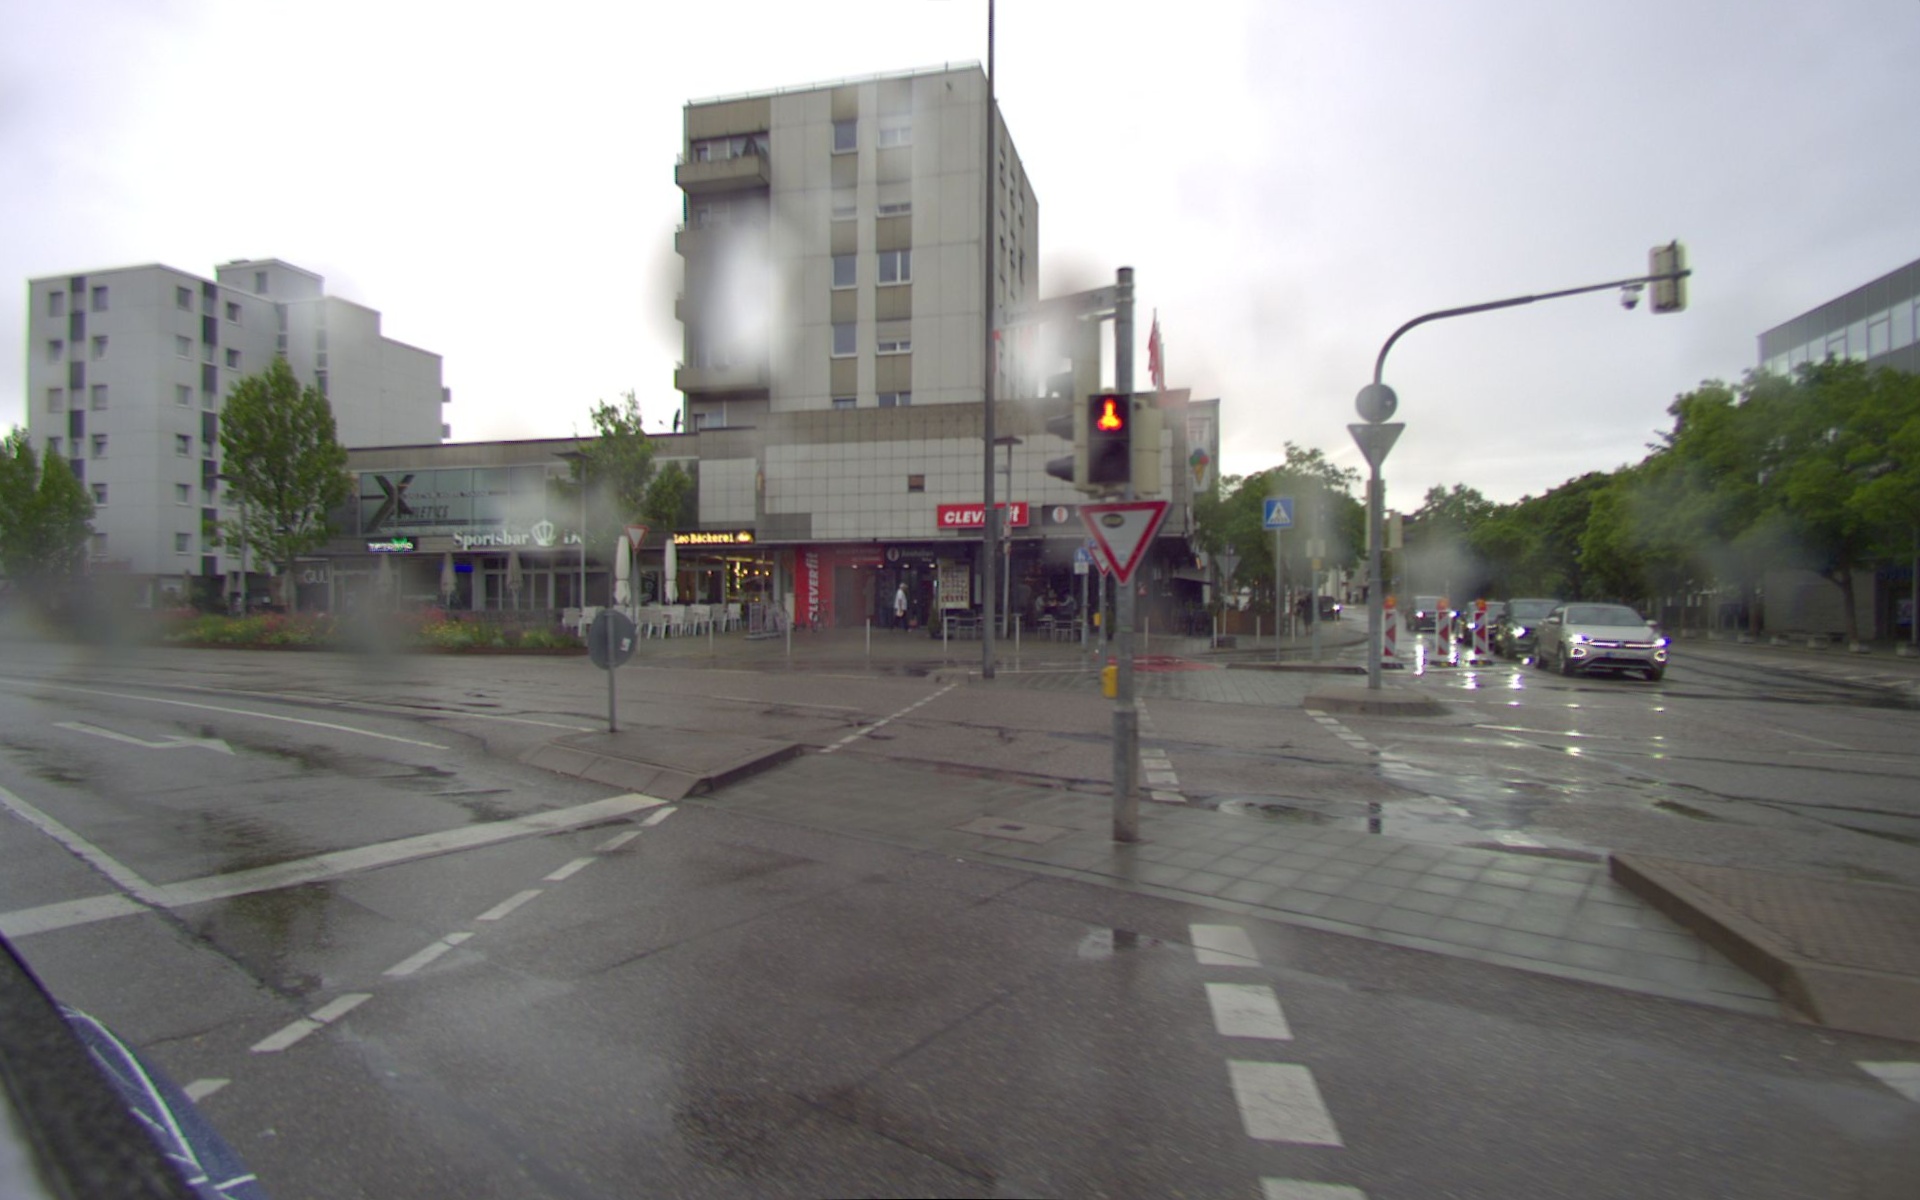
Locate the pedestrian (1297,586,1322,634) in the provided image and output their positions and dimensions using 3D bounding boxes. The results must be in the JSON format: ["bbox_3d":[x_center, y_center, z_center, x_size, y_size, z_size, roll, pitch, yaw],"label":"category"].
[{"bbox_3d":[14.100,0.403,40.852,0.806,1.908,0.712,-1,-1,32],"label":"pedestrian"}]

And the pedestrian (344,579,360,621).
[{"bbox_3d":[-27.117,0.020,45.128,0.498,1.862,0.423,-1,0,25],"label":"pedestrian"}]

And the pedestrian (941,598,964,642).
[{"bbox_3d":[-0.224,0.611,31.327,0.490,1.358,0.538,0,1,-42],"label":"pedestrian"}]

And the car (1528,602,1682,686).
[{"bbox_3d":[13.609,0.875,21.630,1.856,1.607,4.178,0,-1,20],"label":"car"}]

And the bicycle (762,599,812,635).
[{"bbox_3d":[-6.199,0.600,36.376,0.690,1.232,2.539,-1,0,17],"label":"bicycle"}]

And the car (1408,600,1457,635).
[{"bbox_3d":[23.090,0.815,49.548,1.702,1.607,3.975,-1,0,19],"label":"car"}]

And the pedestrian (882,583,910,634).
[{"bbox_3d":[-2.188,0.275,34.601,0.704,1.706,0.658,0,0,-39],"label":"pedestrian"}]

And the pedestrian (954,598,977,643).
[{"bbox_3d":[0.167,0.617,30.867,0.489,1.358,0.538,0,0,-41],"label":"pedestrian"}]

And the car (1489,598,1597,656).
[{"bbox_3d":[15.962,0.685,27.912,1.856,1.431,4.032,1,1,20],"label":"car"}]

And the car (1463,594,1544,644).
[{"bbox_3d":[18.572,0.606,34.752,1.856,1.607,3.974,-1,0,20],"label":"car"}]

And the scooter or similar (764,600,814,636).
[{"bbox_3d":[-5.795,0.605,34.501,0.637,1.183,2.579,-1,0,16],"label":"scooter or similar"}]
